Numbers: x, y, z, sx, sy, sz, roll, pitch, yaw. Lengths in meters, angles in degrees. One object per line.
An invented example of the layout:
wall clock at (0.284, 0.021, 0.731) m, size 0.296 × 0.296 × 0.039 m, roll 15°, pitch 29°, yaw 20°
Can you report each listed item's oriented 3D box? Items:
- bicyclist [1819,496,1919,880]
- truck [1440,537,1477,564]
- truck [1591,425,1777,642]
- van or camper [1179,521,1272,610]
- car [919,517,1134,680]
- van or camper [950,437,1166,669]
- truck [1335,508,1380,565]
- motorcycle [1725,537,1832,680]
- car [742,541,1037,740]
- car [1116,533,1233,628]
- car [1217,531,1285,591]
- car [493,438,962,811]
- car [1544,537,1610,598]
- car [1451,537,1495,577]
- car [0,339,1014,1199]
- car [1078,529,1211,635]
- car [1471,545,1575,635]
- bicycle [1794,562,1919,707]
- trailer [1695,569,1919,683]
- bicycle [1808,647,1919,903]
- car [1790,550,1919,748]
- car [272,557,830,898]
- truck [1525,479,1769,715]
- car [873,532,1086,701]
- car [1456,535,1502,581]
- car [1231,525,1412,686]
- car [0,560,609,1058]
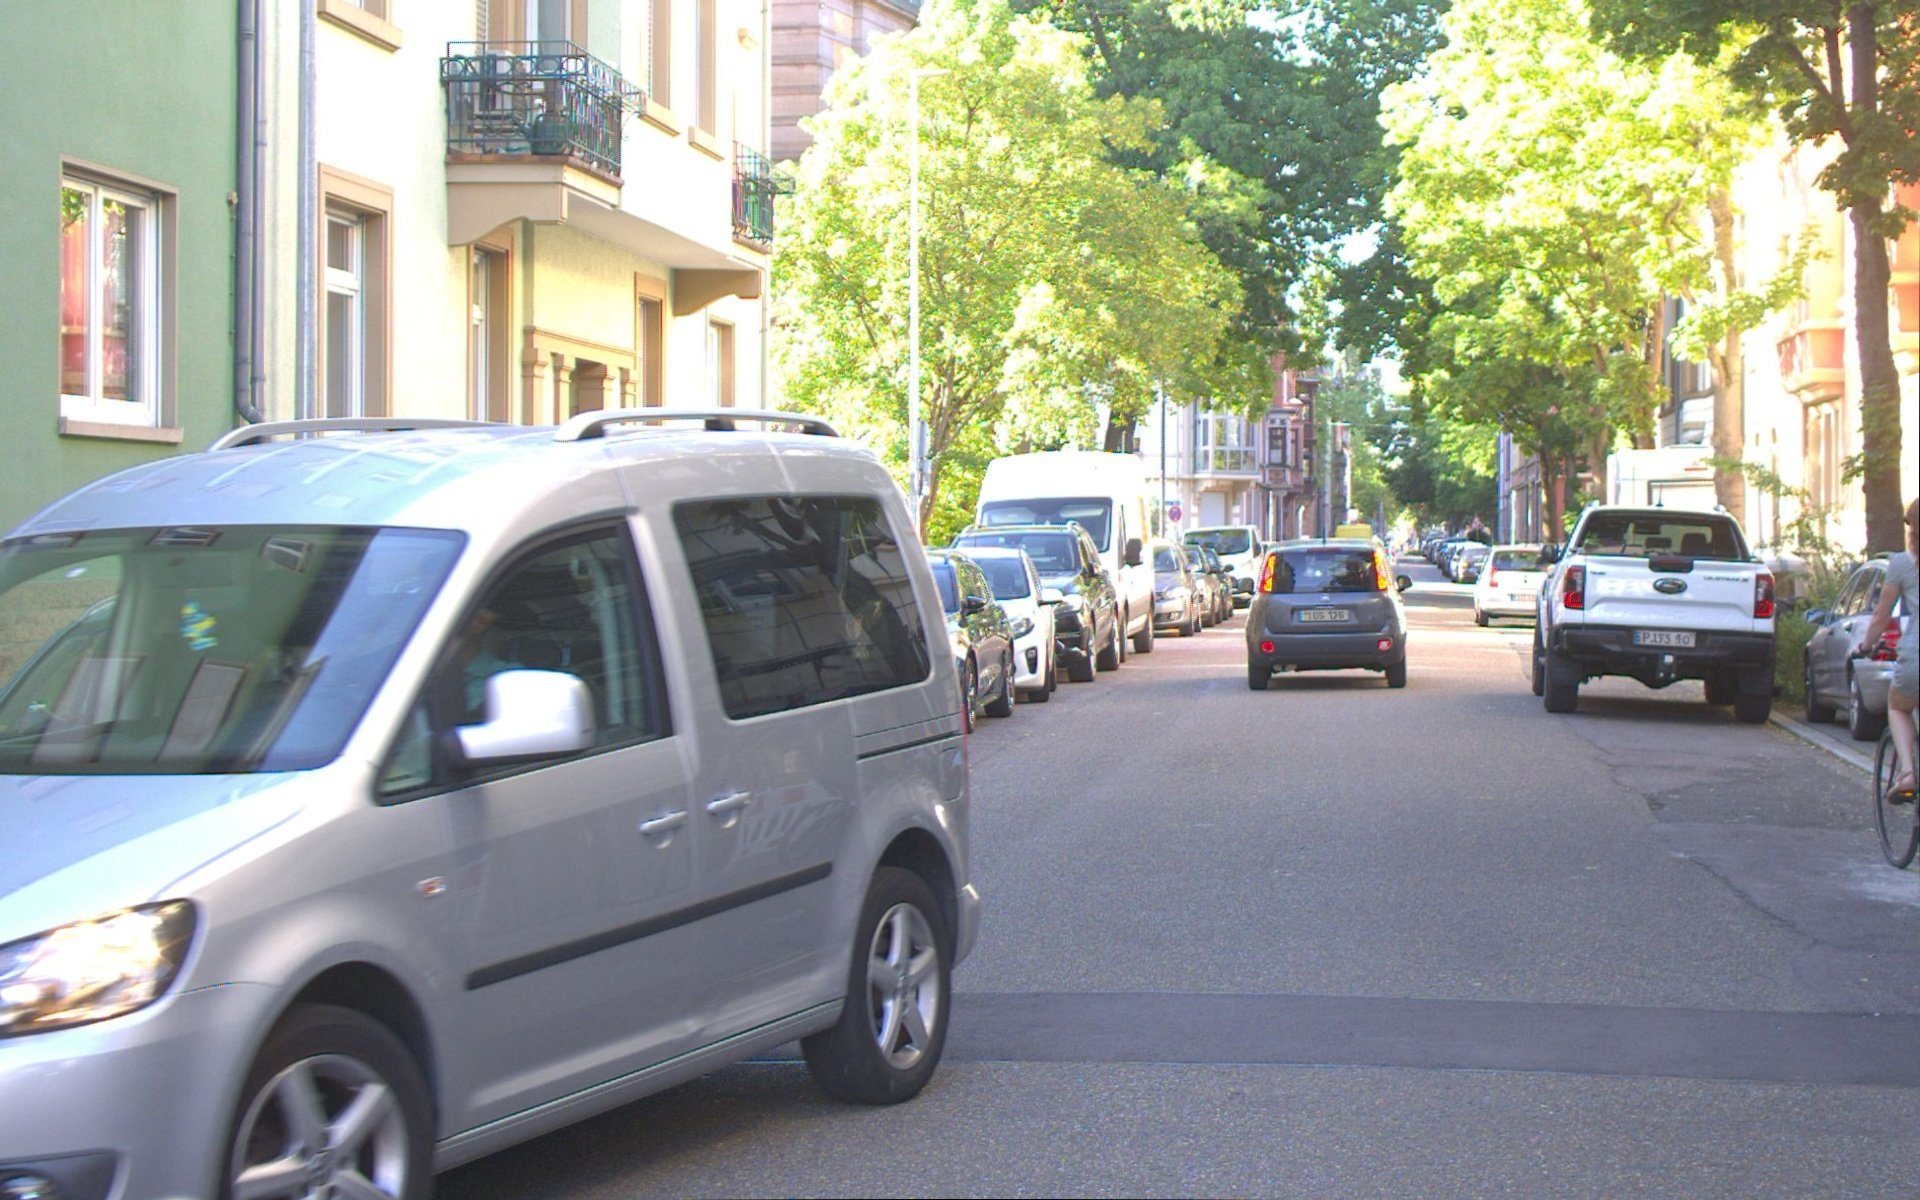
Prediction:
bicyclist at (4.402, 0.391, 15.665) m, size 0.715 × 1.683 × 0.981 m, roll 3°, pitch 1°, yaw 5°
truck at (28.083, -2.800, 193.684) m, size 1.994 × 1.451 × 3.999 m, roll 0°, pitch 1°, yaw 8°
truck at (10.698, -0.989, 51.214) m, size 2.074 × 2.958 × 6.108 m, roll -2°, pitch 1°, yaw 7°
van or camper at (6.399, -0.836, 82.280) m, size 1.922 × 1.973 × 5.460 m, roll -3°, pitch 1°, yaw 7°
car at (0.825, -0.070, 39.002) m, size 1.876 × 1.679 × 4.968 m, roll -2°, pitch 1°, yaw 7°
van or camper at (1.362, -0.626, 44.741) m, size 2.129 × 2.759 × 5.850 m, roll -2°, pitch 1°, yaw 8°
truck at (21.553, -3.434, 186.206) m, size 2.071 × 2.916 × 5.066 m, roll -3°, pitch 1°, yaw 9°
motorcycle at (8.801, 0.072, 37.038) m, size 0.930 × 1.481 × 2.137 m, roll 1°, pitch 1°, yaw 9°
car at (-0.501, 0.283, 29.272) m, size 1.767 × 1.516 × 4.824 m, roll -1°, pitch 1°, yaw 8°
car at (3.883, -0.375, 61.609) m, size 1.676 × 1.567 × 4.150 m, roll -3°, pitch 1°, yaw 9°
car at (8.310, -1.126, 97.980) m, size 1.825 × 1.548 × 4.133 m, roll -3°, pitch 1°, yaw 5°
car at (-1.404, 0.108, 23.284) m, size 2.252 × 2.161 × 5.243 m, roll -2°, pitch 1°, yaw 6°
car at (15.553, -0.828, 86.753) m, size 1.520 × 1.505 × 3.542 m, roll 0°, pitch 1°, yaw 8°
car at (20.204, -1.694, 135.333) m, size 1.663 × 1.500 × 3.756 m, roll 1°, pitch 1°, yaw 9°
car at (-1.519, 0.470, 8.000) m, size 1.773 × 1.837 × 4.411 m, roll -2°, pitch 1°, yaw 22°
car at (3.018, -0.329, 55.466) m, size 1.781 × 1.585 × 4.468 m, roll -2°, pitch 1°, yaw 7°
car at (10.275, -0.209, 62.893) m, size 1.679 × 1.539 × 3.799 m, roll 1°, pitch 1°, yaw 7°
bicycle at (8.567, 0.312, 31.439) m, size 1.759 × 1.300 × 0.586 m, roll 0°, pitch 1°, yaw 6°
trailer at (8.701, 0.262, 35.118) m, size 2.080 × 1.108 × 1.116 m, roll 1°, pitch 1°, yaw -6°
bicycle at (4.398, 0.784, 15.725) m, size 0.706 × 1.042 × 1.857 m, roll 4°, pitch 1°, yaw 6°
car at (7.781, 0.327, 27.581) m, size 1.680 × 1.417 × 4.429 m, roll -1°, pitch 1°, yaw 7°
car at (-1.936, 0.555, 17.673) m, size 1.833 × 1.457 × 4.362 m, roll -2°, pitch 1°, yaw 7°
truck at (6.195, -0.086, 31.501) m, size 1.829 × 1.942 × 5.539 m, roll 1°, pitch 1°, yaw 8°
car at (0.254, 0.135, 33.965) m, size 1.635 × 1.546 × 4.088 m, roll -1°, pitch 0°, yaw 7°
car at (19.769, -1.620, 130.857) m, size 1.663 × 1.663 × 3.756 m, roll 1°, pitch 1°, yaw 9°
car at (3.805, 0.023, 35.796) m, size 1.633 × 1.545 × 3.263 m, roll -2°, pitch 1°, yaw 9°
car at (-2.588, 0.624, 12.693) m, size 1.720 × 1.457 × 4.506 m, roll -2°, pitch 1°, yaw 5°
